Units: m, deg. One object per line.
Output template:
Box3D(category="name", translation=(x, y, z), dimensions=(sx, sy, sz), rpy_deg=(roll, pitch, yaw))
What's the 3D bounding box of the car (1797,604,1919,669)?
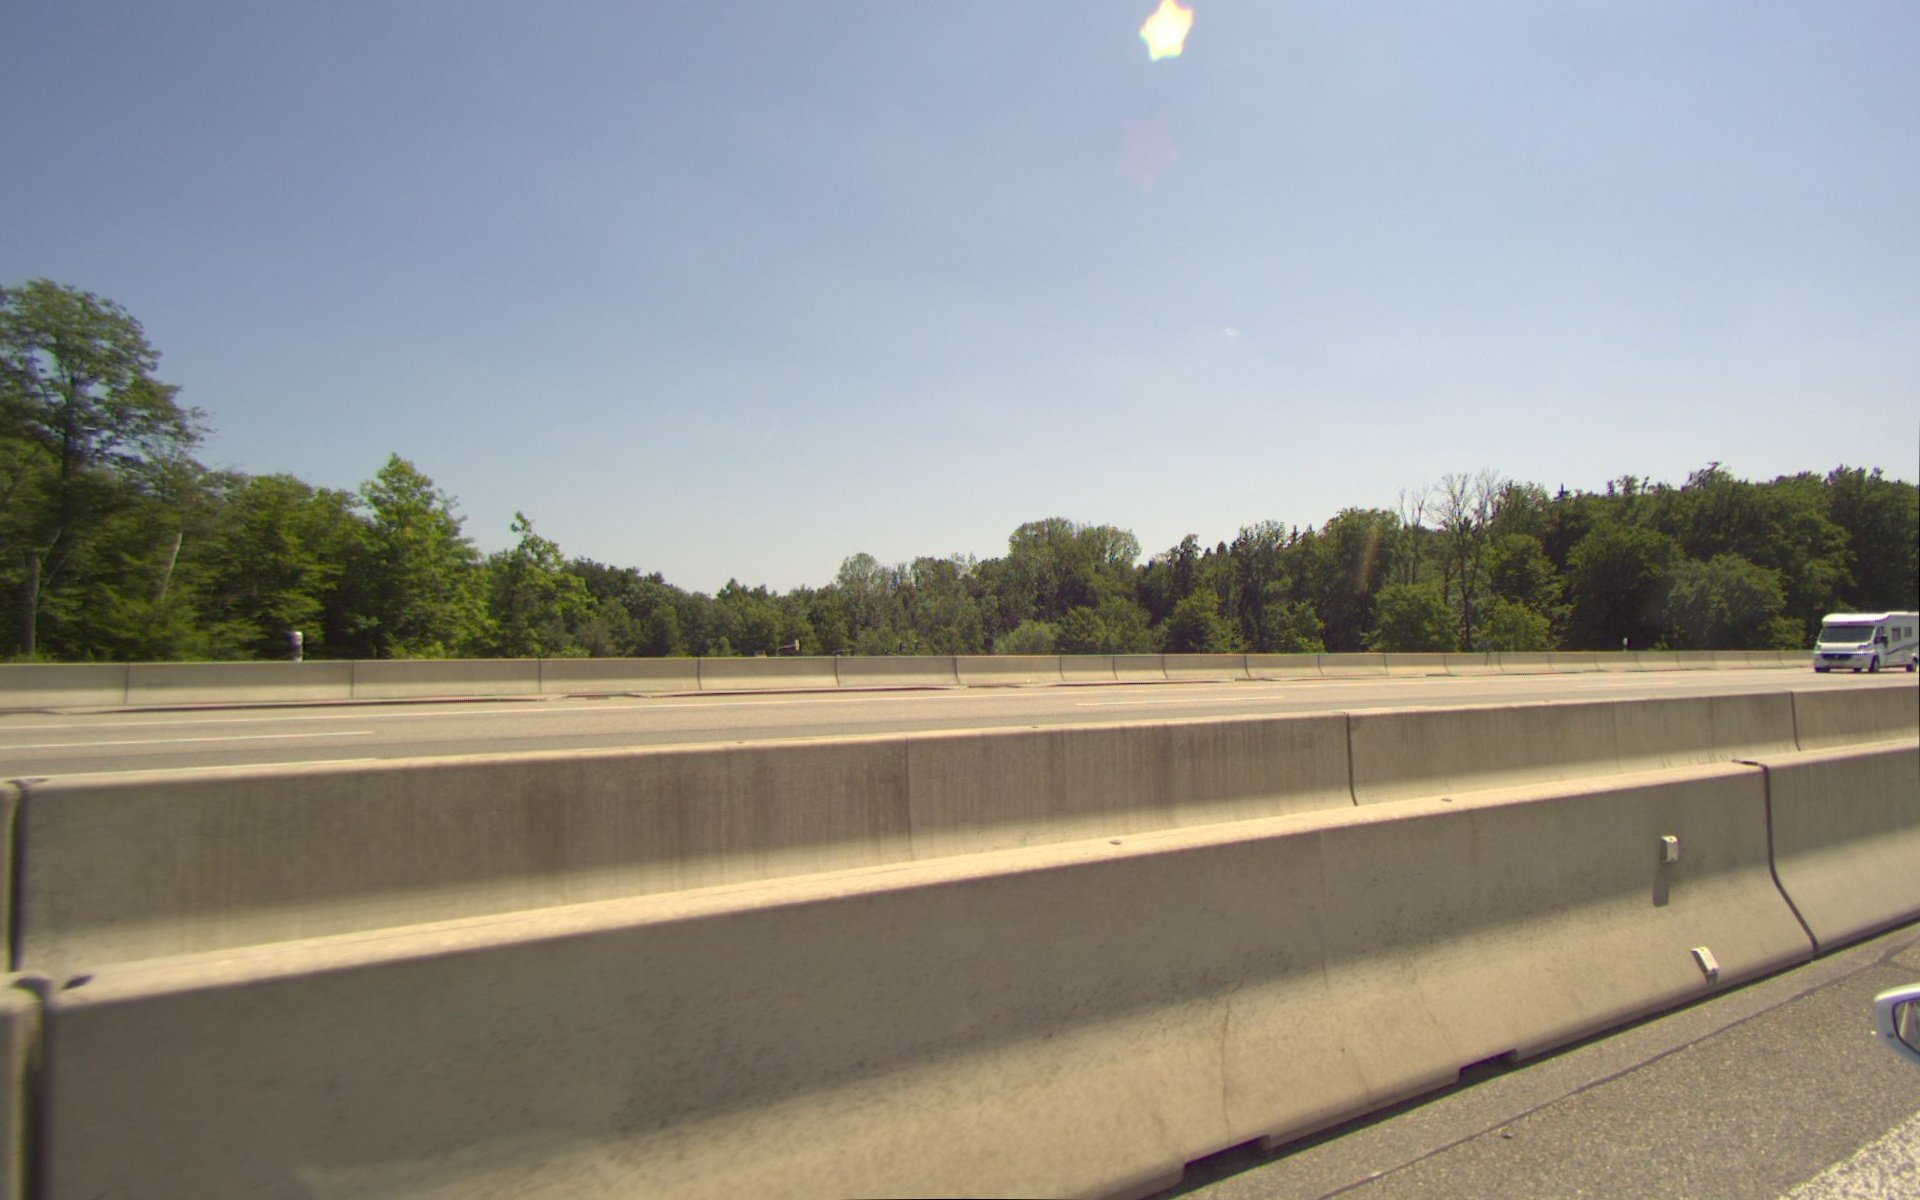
Box3D(category="car", translation=(40.033, 1.627, 44.258), dimensions=(8.079, 2.694, 2.211), rpy_deg=(1, -3, -30))
